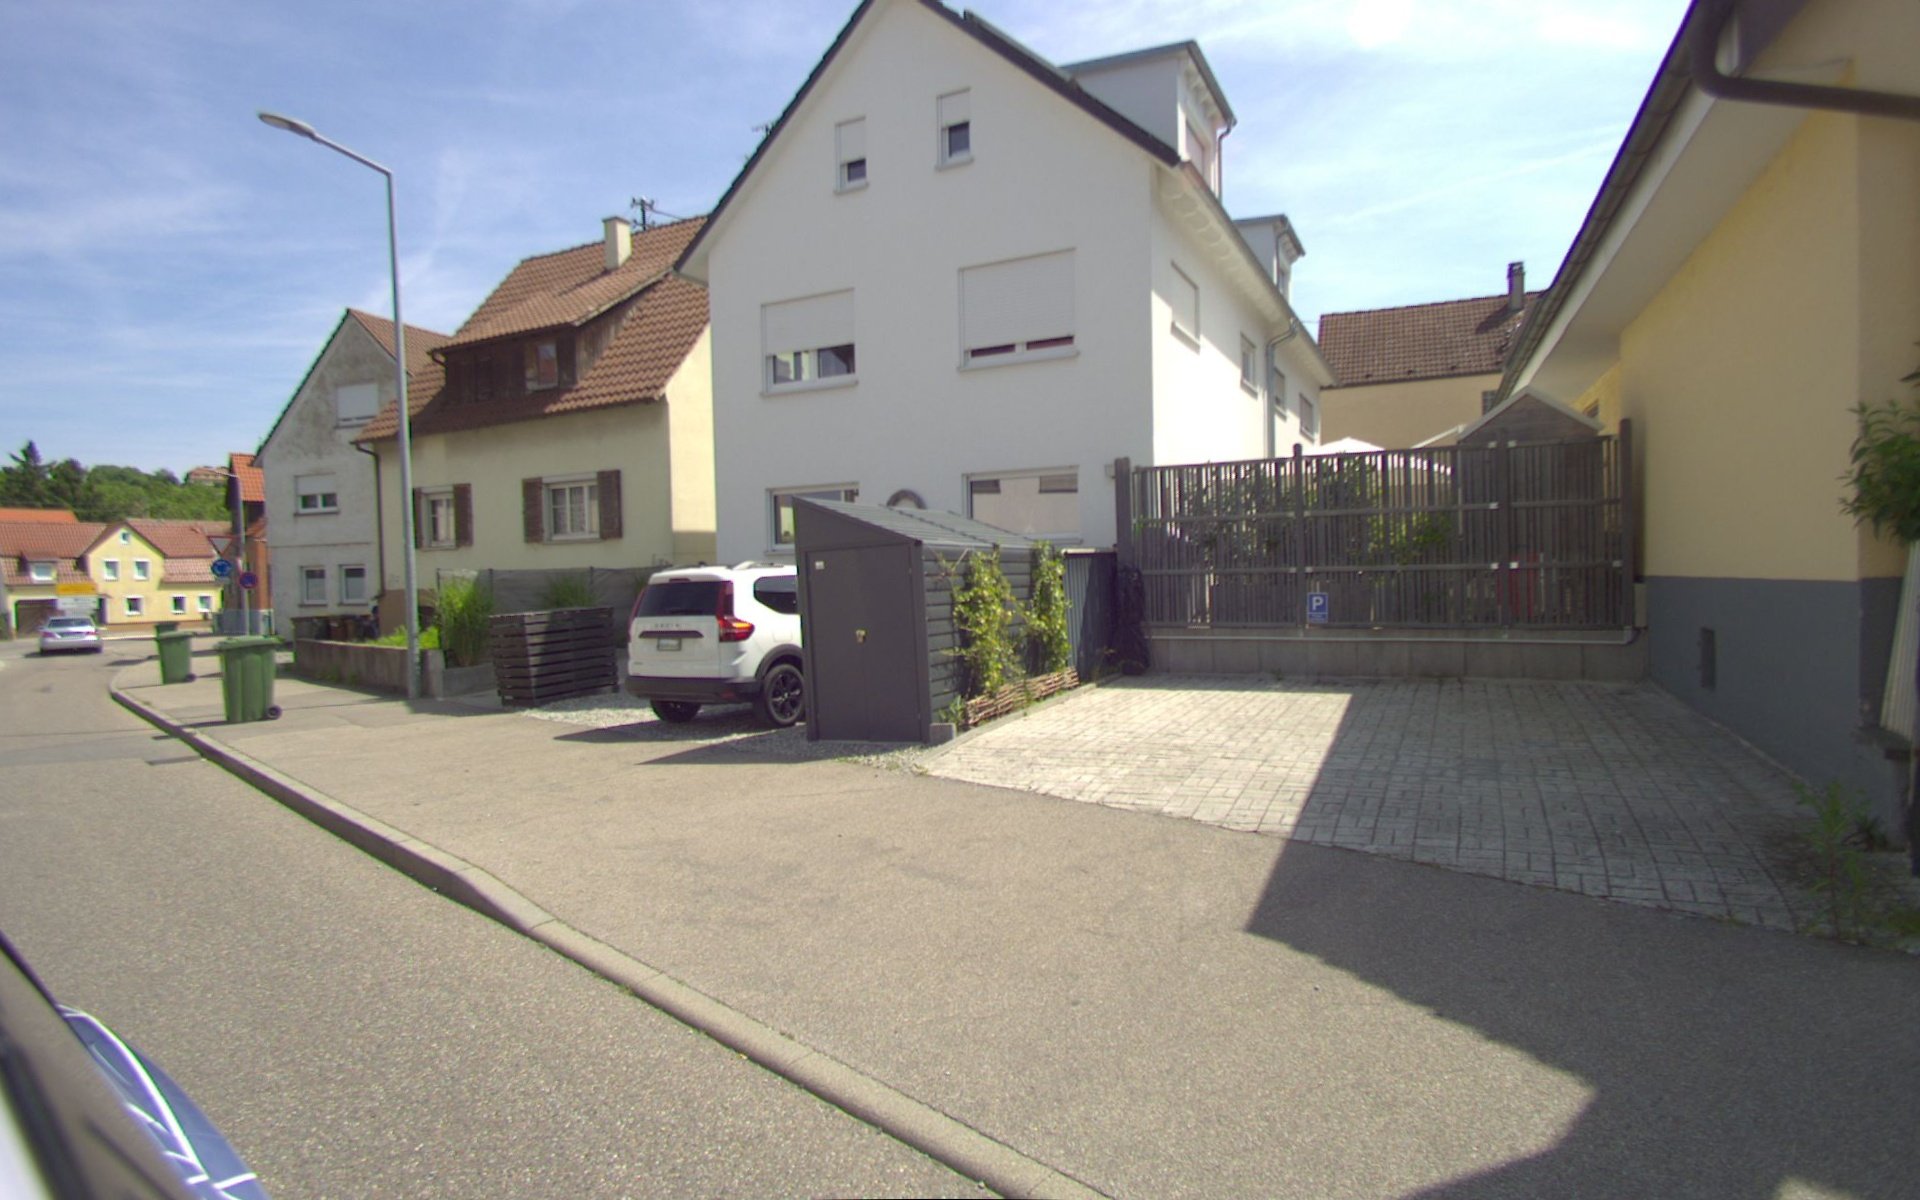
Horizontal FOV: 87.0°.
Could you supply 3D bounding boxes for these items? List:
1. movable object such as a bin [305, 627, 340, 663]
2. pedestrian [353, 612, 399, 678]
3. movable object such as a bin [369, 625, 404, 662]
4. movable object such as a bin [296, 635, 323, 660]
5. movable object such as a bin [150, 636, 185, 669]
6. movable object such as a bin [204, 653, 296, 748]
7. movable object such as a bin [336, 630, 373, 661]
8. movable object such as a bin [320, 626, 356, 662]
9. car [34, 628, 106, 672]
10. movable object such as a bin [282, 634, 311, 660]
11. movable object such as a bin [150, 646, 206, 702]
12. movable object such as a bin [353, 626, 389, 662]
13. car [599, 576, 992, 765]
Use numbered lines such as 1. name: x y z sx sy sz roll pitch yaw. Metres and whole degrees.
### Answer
1. movable object such as a bin: -20.713 1.470 32.896 0.640 1.094 0.681 -3 1 19
2. pedestrian: -14.784 1.133 25.622 0.627 1.586 0.770 -2 1 37
3. movable object such as a bin: -18.084 1.366 31.941 0.621 1.090 0.681 -3 1 19
4. movable object such as a bin: -21.368 1.558 33.245 0.523 0.786 0.483 -3 1 20
5. movable object such as a bin: -26.698 1.762 34.101 0.798 1.052 0.829 -3 1 -34
6. movable object such as a bin: -9.103 1.256 12.973 0.816 1.085 0.819 -4 1 -44
7. movable object such as a bin: -19.400 1.454 32.430 0.693 0.903 0.681 -3 1 19
8. movable object such as a bin: -20.070 1.426 32.665 0.693 1.094 0.681 -3 1 19
9. car: -34.591 1.883 39.416 1.931 1.497 4.466 -3 1 -40
10. movable object such as a bin: -21.933 1.540 33.466 0.642 0.811 0.483 -3 1 22
11. movable object such as a bin: -16.181 1.517 20.953 0.651 1.065 0.783 -2 0 42
12. movable object such as a bin: -18.728 1.398 32.185 0.693 1.090 0.681 -3 1 19
13. car: -1.635 0.618 11.584 1.994 1.634 4.367 -1 1 33
